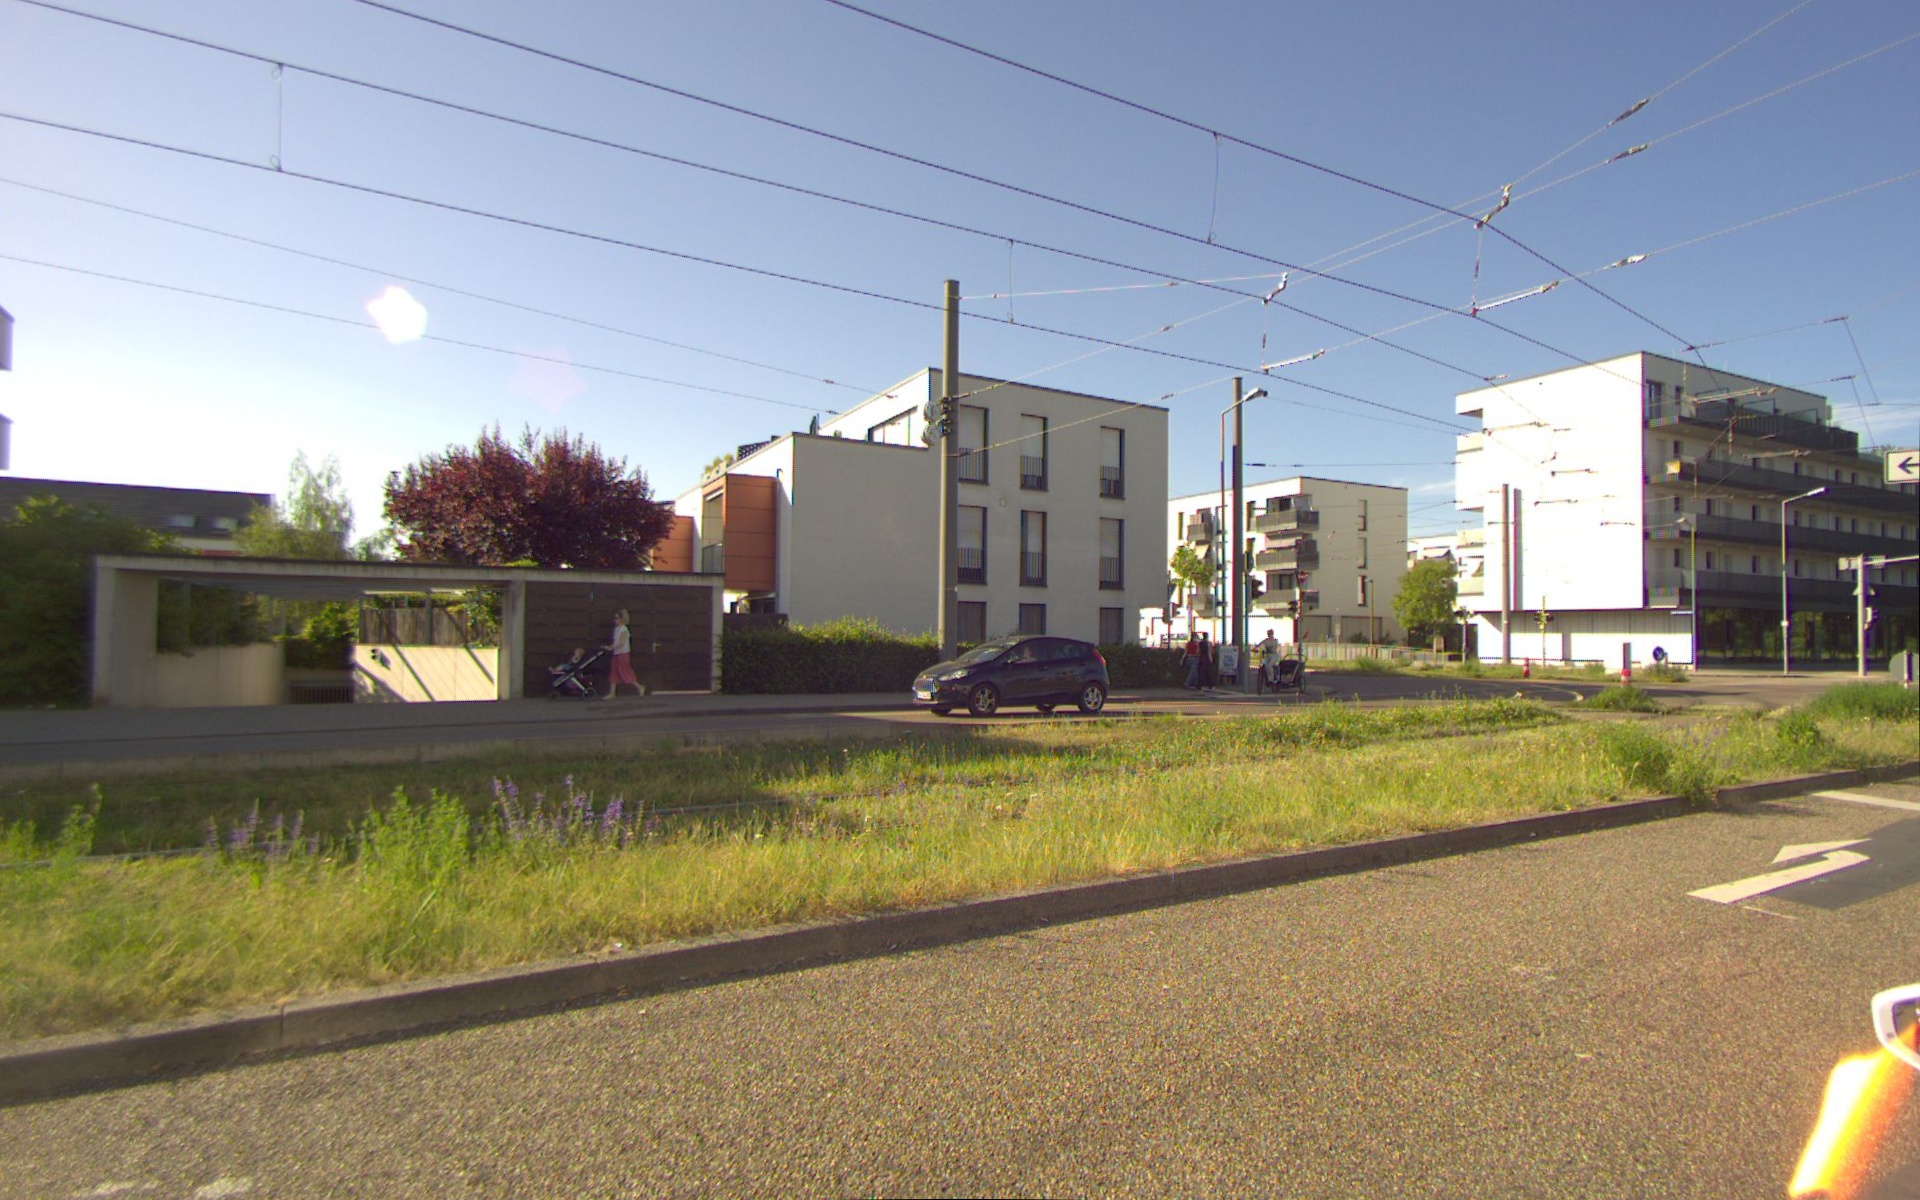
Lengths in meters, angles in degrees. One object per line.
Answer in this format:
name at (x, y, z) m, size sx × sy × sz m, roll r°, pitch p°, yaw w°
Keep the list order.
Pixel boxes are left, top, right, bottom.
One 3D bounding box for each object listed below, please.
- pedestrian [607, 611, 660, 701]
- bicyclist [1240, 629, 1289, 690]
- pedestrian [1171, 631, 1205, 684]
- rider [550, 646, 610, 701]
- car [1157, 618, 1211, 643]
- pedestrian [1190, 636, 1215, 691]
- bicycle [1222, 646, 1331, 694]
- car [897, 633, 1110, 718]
pedestrian at (-6.588, 1.110, 20.232) m, size 0.897 × 1.771 × 0.813 m, roll 1°, pitch 0°, yaw -26°
bicyclist at (8.560, 1.660, 28.247) m, size 0.904 × 1.651 × 0.966 m, roll 1°, pitch 0°, yaw -37°
pedestrian at (6.499, 1.624, 28.652) m, size 0.733 × 1.483 × 0.555 m, roll 1°, pitch 0°, yaw -28°
rider at (-7.495, 1.435, 19.807) m, size 1.031 × 1.016 × 0.775 m, roll 1°, pitch 0°, yaw -25°
car at (17.836, 2.388, 80.128) m, size 1.977 × 1.862 × 3.967 m, roll 1°, pitch 0°, yaw -31°
pedestrian at (6.793, 1.766, 28.116) m, size 0.548 × 1.483 × 0.611 m, roll 1°, pitch 0°, yaw 23°
bicycle at (9.053, 1.955, 28.626) m, size 3.660 × 1.190 × 0.989 m, roll 1°, pitch 1°, yaw -37°
car at (0.836, 1.369, 18.830) m, size 3.699 × 1.449 × 1.694 m, roll 1°, pitch -4°, yaw -32°
